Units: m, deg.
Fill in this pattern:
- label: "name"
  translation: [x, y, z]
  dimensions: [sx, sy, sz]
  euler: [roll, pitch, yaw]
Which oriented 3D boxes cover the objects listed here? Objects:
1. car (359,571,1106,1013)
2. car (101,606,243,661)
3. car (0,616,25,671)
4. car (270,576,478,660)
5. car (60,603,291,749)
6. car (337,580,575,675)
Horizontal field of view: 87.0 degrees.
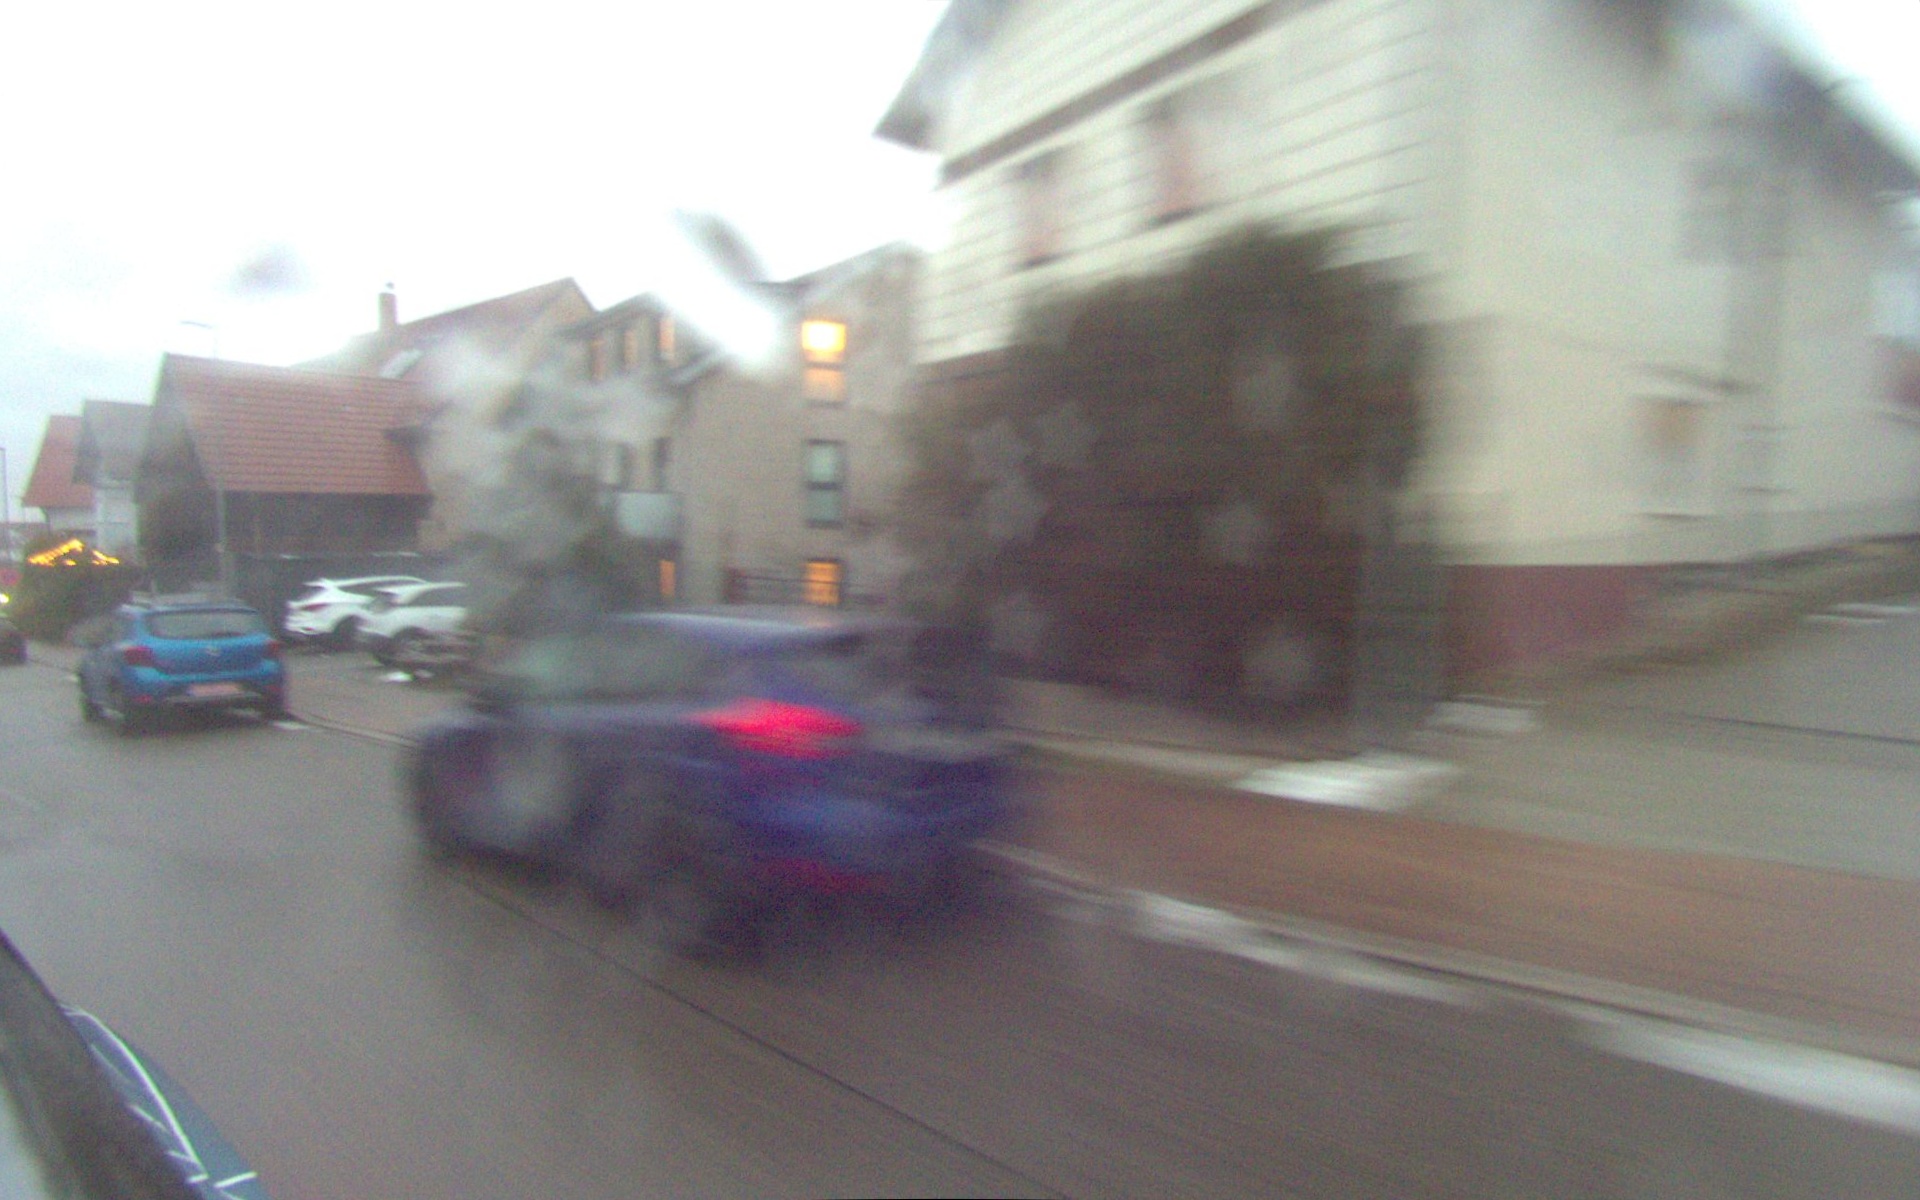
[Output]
- label: "car"
  translation: [-1.513, 0.680, 5.556]
  dimensions: [4.306, 1.515, 1.776]
  euler: [-1, 0, 40]
- label: "car"
  translation: [-25.630, 1.037, 32.972]
  dimensions: [1.774, 1.539, 3.425]
  euler: [0, 2, 45]
- label: "car"
  translation: [-27.964, 1.198, 28.525]
  dimensions: [5.073, 1.405, 1.858]
  euler: [0, 1, 41]
- label: "car"
  translation: [-14.231, 0.362, 24.731]
  dimensions: [2.000, 1.759, 3.945]
  euler: [0, 3, 42]
- label: "car"
  translation: [-10.480, 0.857, 13.405]
  dimensions: [4.174, 1.596, 1.666]
  euler: [0, 1, 41]
- label: "car"
  translation: [-10.207, 0.483, 20.664]
  dimensions: [3.940, 1.630, 1.891]
  euler: [-3, 2, -43]
